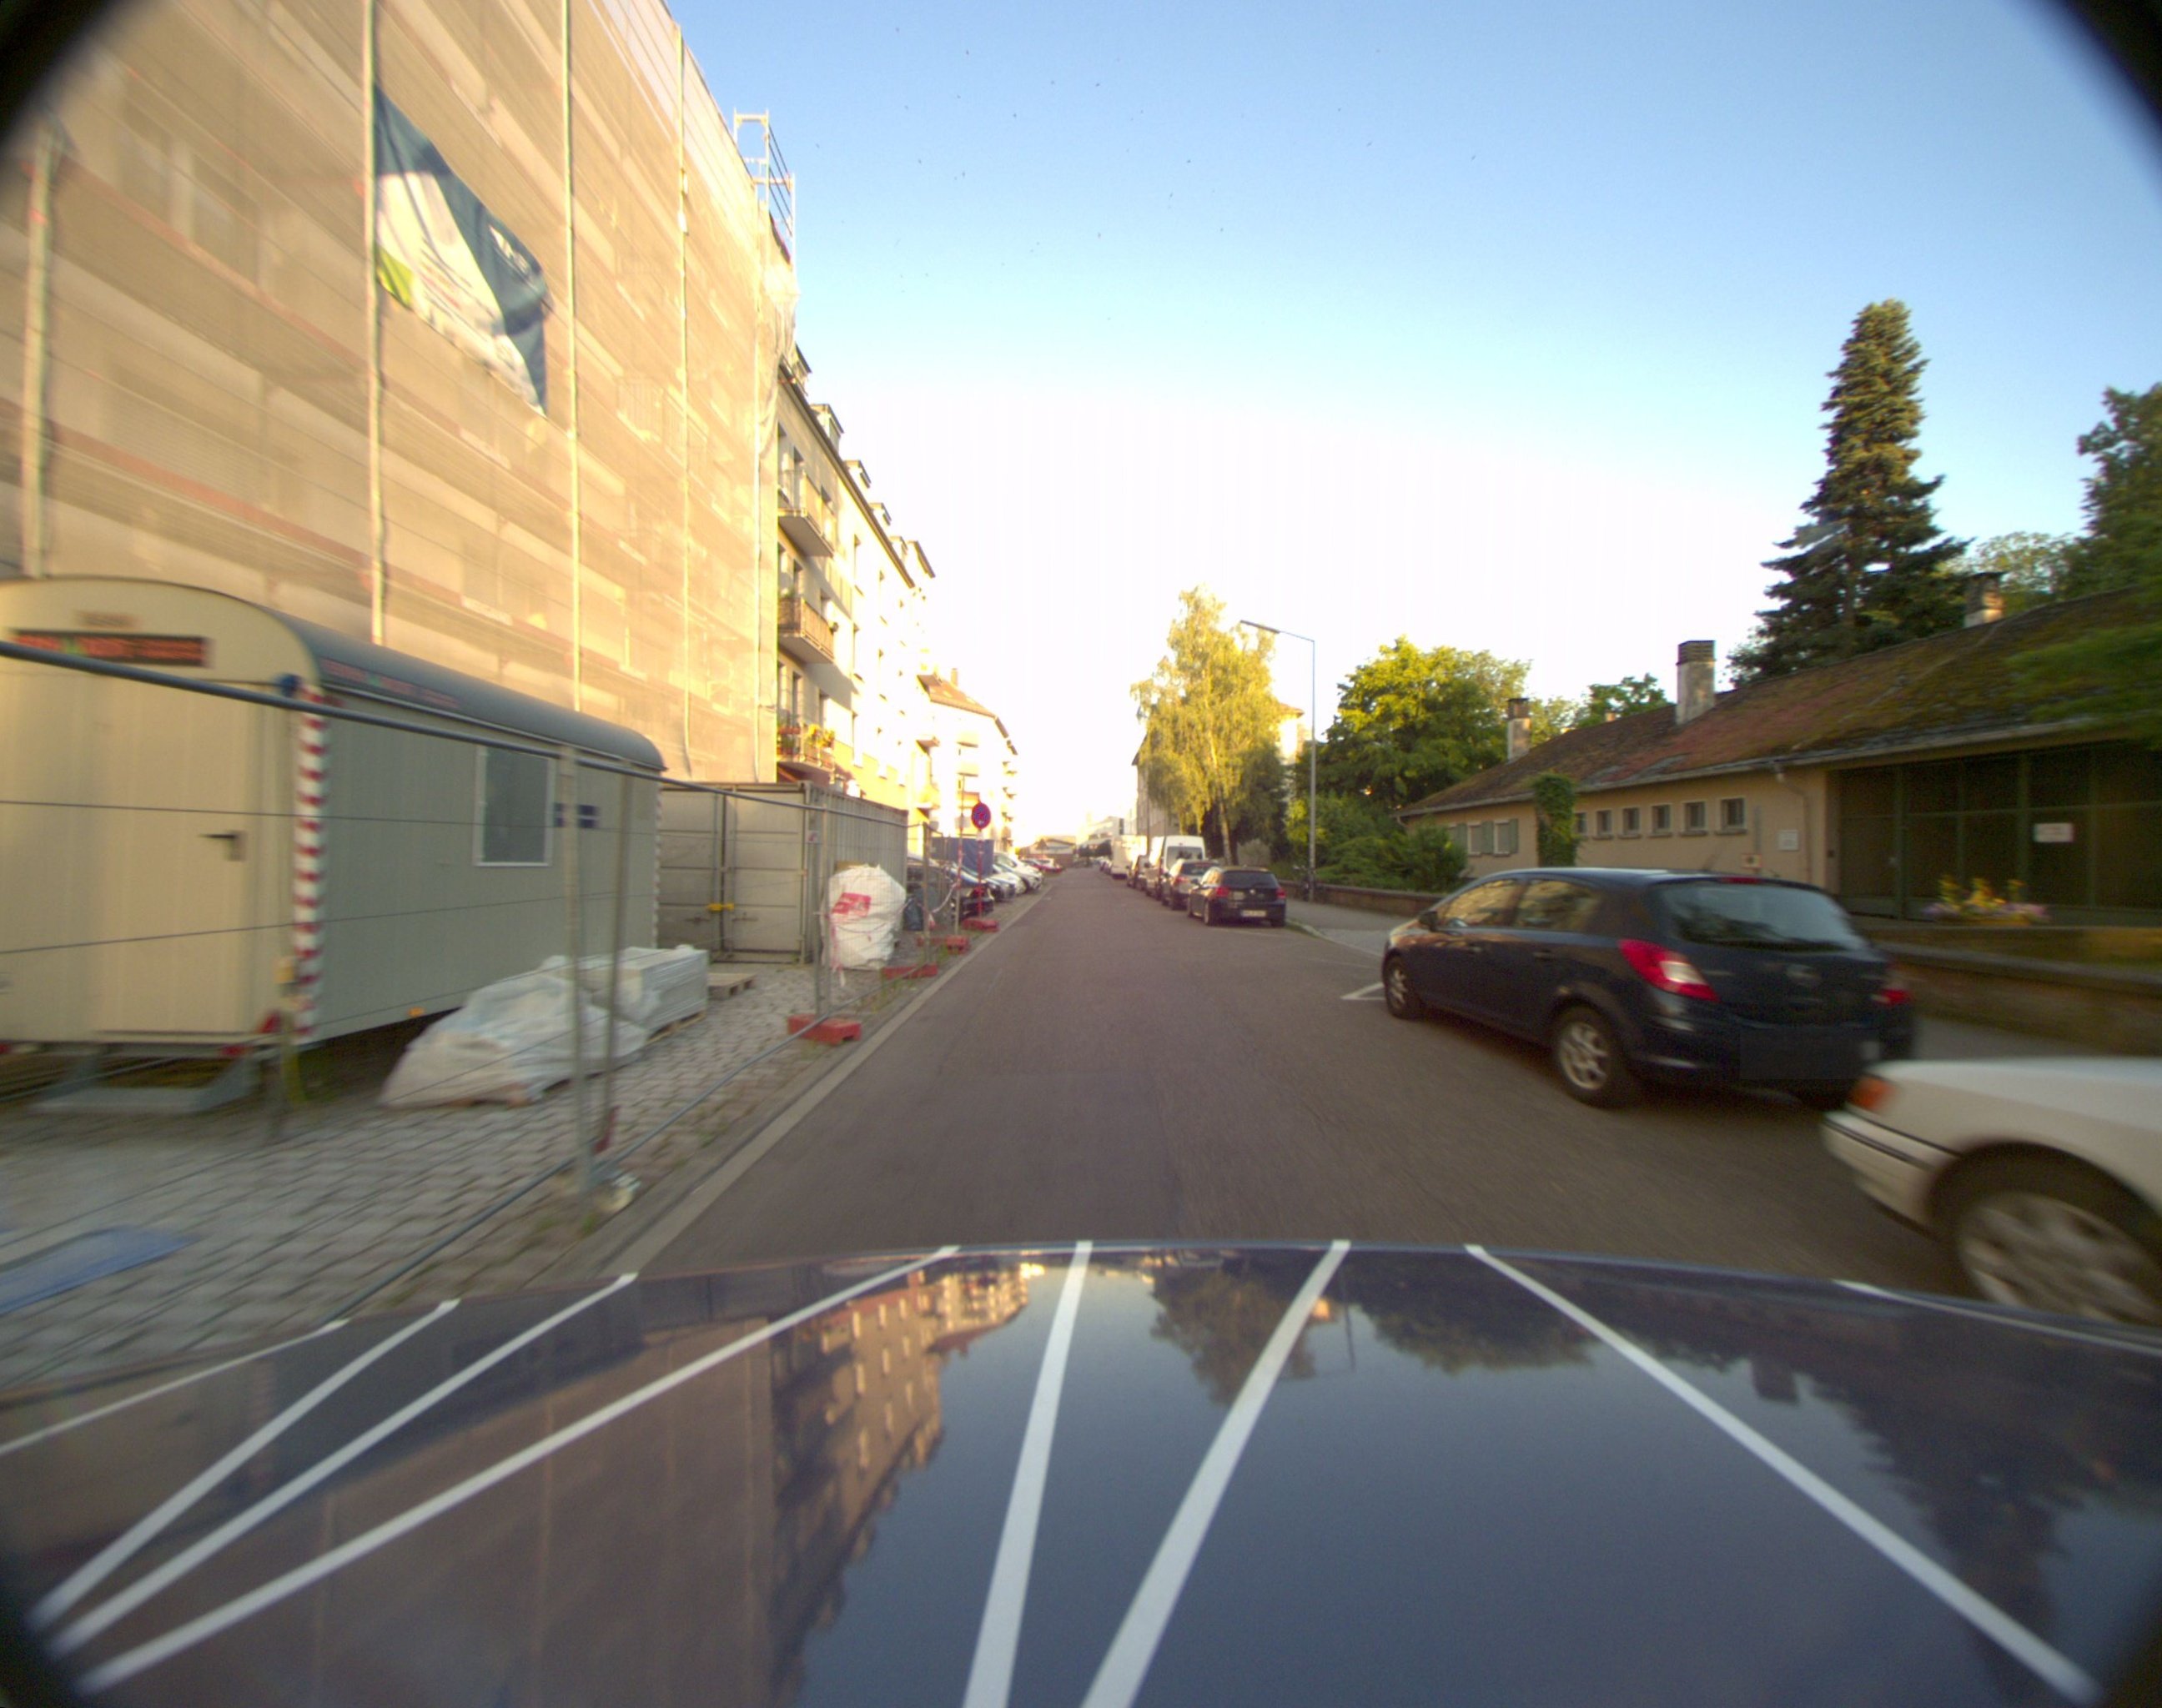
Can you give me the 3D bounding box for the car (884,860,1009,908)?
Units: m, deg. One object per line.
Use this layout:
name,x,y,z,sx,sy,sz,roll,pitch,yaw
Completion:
car,-4.509,0.987,25.904,3.975,1.562,1.788,0,0,-3

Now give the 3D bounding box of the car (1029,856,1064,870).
car,-4.019,1.048,89.474,3.996,1.674,2.000,0,0,3

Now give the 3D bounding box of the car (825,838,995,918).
car,-4.585,0.659,20.915,4.278,1.968,1.821,2,-1,-5

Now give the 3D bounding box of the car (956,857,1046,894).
car,-3.674,0.986,35.473,3.998,1.630,1.999,0,1,-2

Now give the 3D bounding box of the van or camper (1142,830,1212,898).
van or camper,3.728,0.367,30.468,1.999,2.442,6.083,0,0,0

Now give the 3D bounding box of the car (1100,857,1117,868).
car,3.658,1.151,102.384,1.999,1.481,4.431,-1,0,-2

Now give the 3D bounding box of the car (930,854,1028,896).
car,-4.334,0.876,32.833,3.998,1.718,1.999,0,1,-2

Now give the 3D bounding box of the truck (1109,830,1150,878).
truck,3.598,-0.008,58.294,2.532,3.334,8.017,2,0,0

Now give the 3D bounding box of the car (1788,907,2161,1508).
car,3.637,0.956,0.526,1.787,1.437,4.748,2,0,-1

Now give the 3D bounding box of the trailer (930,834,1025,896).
trailer,-4.141,0.451,30.836,3.577,2.323,1.940,2,0,-3

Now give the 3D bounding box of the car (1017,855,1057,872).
car,-4.389,0.950,76.356,3.998,1.652,2.000,0,0,-2

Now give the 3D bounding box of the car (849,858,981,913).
car,-5.030,0.947,23.354,3.702,1.601,1.745,0,0,-2

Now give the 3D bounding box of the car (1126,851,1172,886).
car,3.586,0.741,41.016,1.915,1.777,4.949,1,0,-1

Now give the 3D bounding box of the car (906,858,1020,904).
car,-4.302,0.976,28.208,3.998,1.628,1.903,0,0,-3

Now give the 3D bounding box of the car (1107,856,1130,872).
car,3.685,0.974,75.083,1.999,1.436,4.431,-1,0,-2

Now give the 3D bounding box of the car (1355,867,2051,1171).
car,3.929,0.867,5.879,1.999,1.444,3.999,-1,0,-3

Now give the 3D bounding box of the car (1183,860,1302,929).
car,3.777,0.896,18.550,1.998,1.444,4.288,-1,0,0

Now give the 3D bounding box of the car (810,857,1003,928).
car,-4.069,0.886,18.213,4.163,1.606,1.872,0,0,1

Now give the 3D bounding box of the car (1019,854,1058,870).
car,-4.385,0.865,78.795,3.998,1.619,1.784,0,0,-2

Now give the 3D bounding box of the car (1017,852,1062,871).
car,-4.411,0.821,81.703,4.685,1.988,2.000,0,0,1

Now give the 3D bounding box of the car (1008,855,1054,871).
car,-4.788,0.895,73.747,4.311,1.532,1.923,0,0,1

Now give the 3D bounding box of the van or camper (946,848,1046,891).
van or camper,-4.199,0.769,38.202,4.846,2.084,2.040,0,0,-1

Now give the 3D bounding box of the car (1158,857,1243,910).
car,3.712,0.861,24.448,1.998,1.510,4.789,-1,0,0

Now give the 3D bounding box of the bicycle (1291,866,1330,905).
bicycle,6.988,0.935,23.242,0.545,1.111,1.955,-1,0,-1

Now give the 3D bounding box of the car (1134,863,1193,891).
car,3.798,1.023,35.604,1.999,1.182,4.034,-1,0,-5

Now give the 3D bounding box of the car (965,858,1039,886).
car,-4.368,1.000,42.764,3.998,1.521,2.000,0,0,-2

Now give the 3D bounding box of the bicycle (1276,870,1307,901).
bicycle,7.039,1.024,25.502,0.544,0.959,1.955,-1,0,2
